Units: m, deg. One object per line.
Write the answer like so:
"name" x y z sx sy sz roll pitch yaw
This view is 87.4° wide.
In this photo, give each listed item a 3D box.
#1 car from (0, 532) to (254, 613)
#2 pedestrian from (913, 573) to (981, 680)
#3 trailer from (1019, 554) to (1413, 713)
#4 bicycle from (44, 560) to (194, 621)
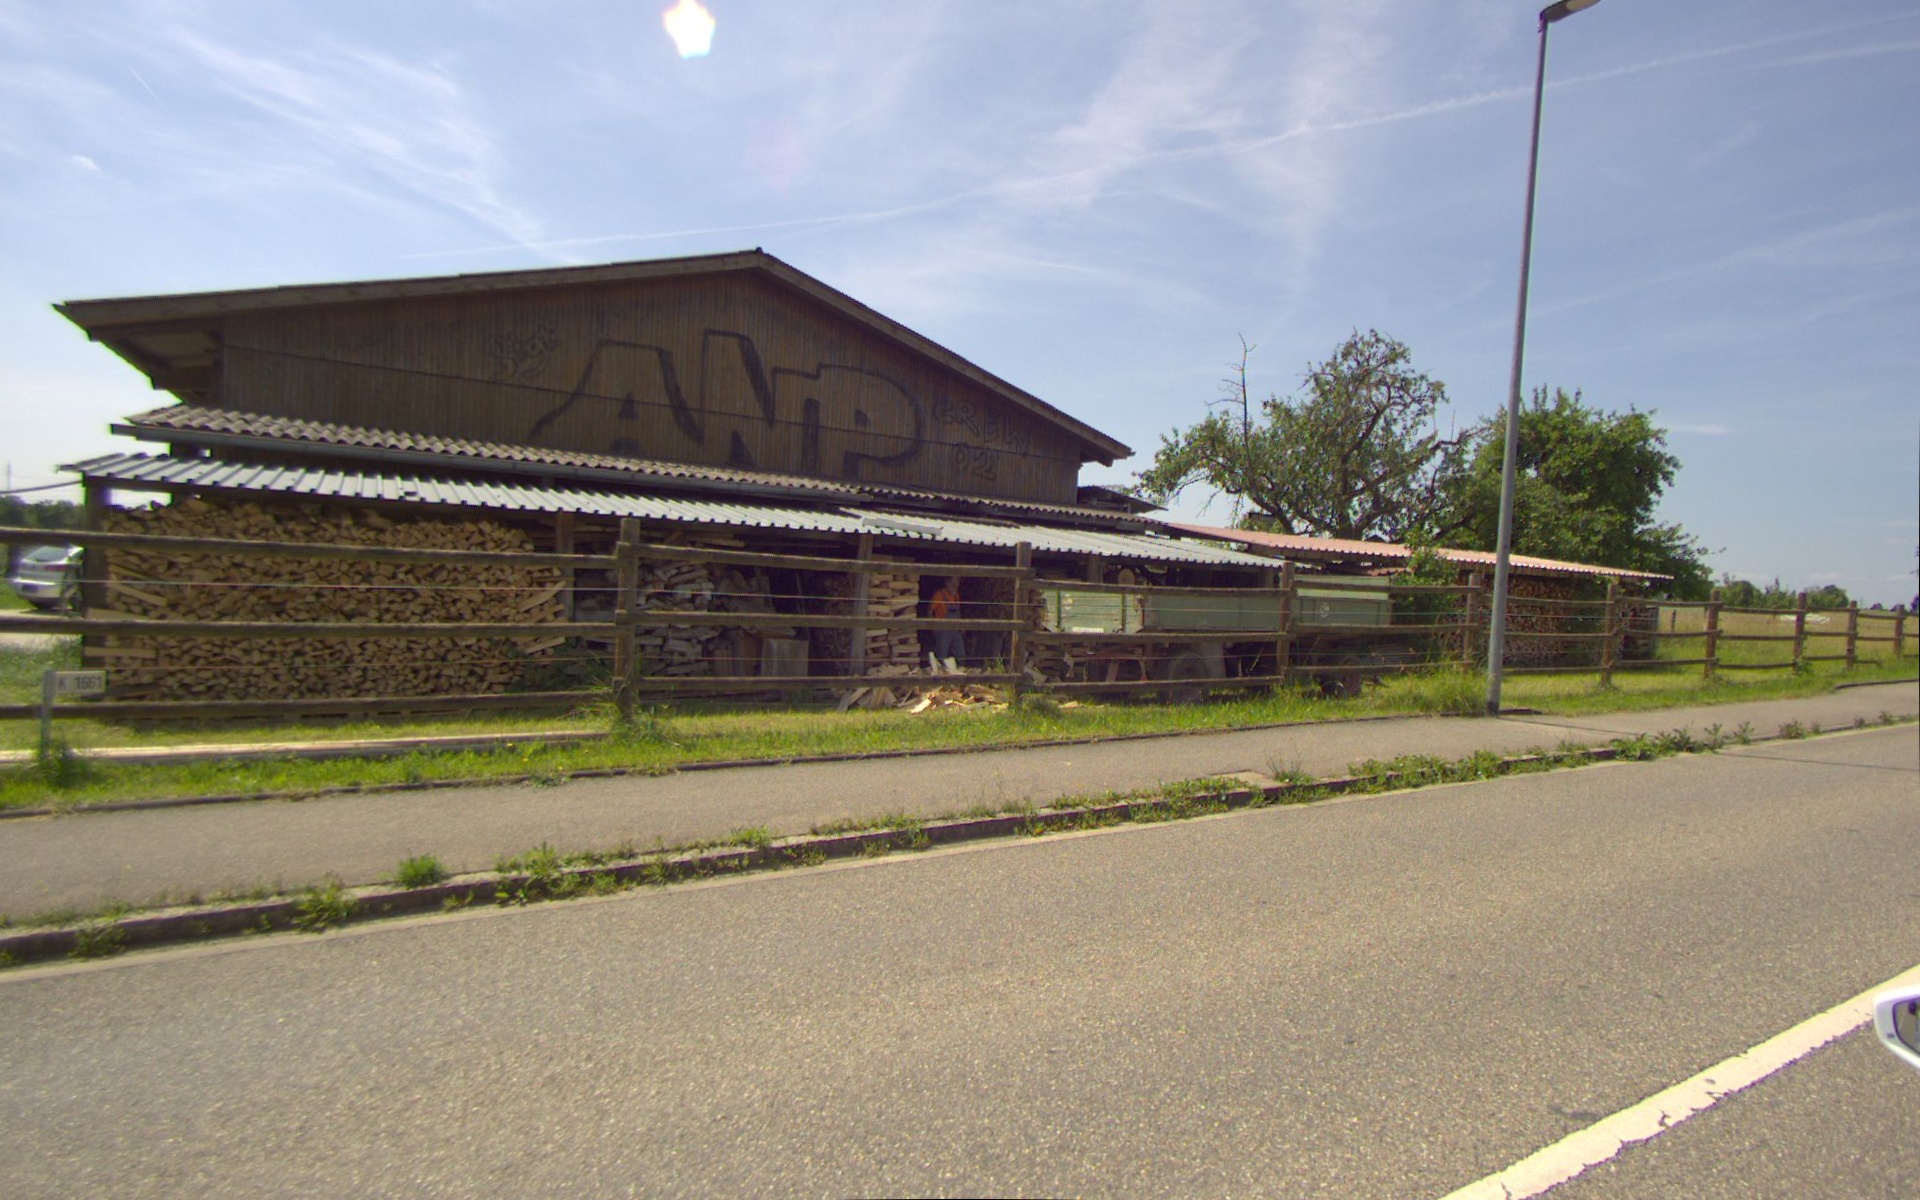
"car" -18.077 -0.614 21.992 1.759 1.539 3.999 4 3 19
"pedestrian" -0.190 0.358 13.918 0.733 1.426 0.585 1 2 -25
"trailer" 3.421 0.400 13.128 4.973 1.726 2.143 1 0 -32
"bicycle" -16.148 -0.174 19.368 2.086 1.093 0.827 1 2 -29
